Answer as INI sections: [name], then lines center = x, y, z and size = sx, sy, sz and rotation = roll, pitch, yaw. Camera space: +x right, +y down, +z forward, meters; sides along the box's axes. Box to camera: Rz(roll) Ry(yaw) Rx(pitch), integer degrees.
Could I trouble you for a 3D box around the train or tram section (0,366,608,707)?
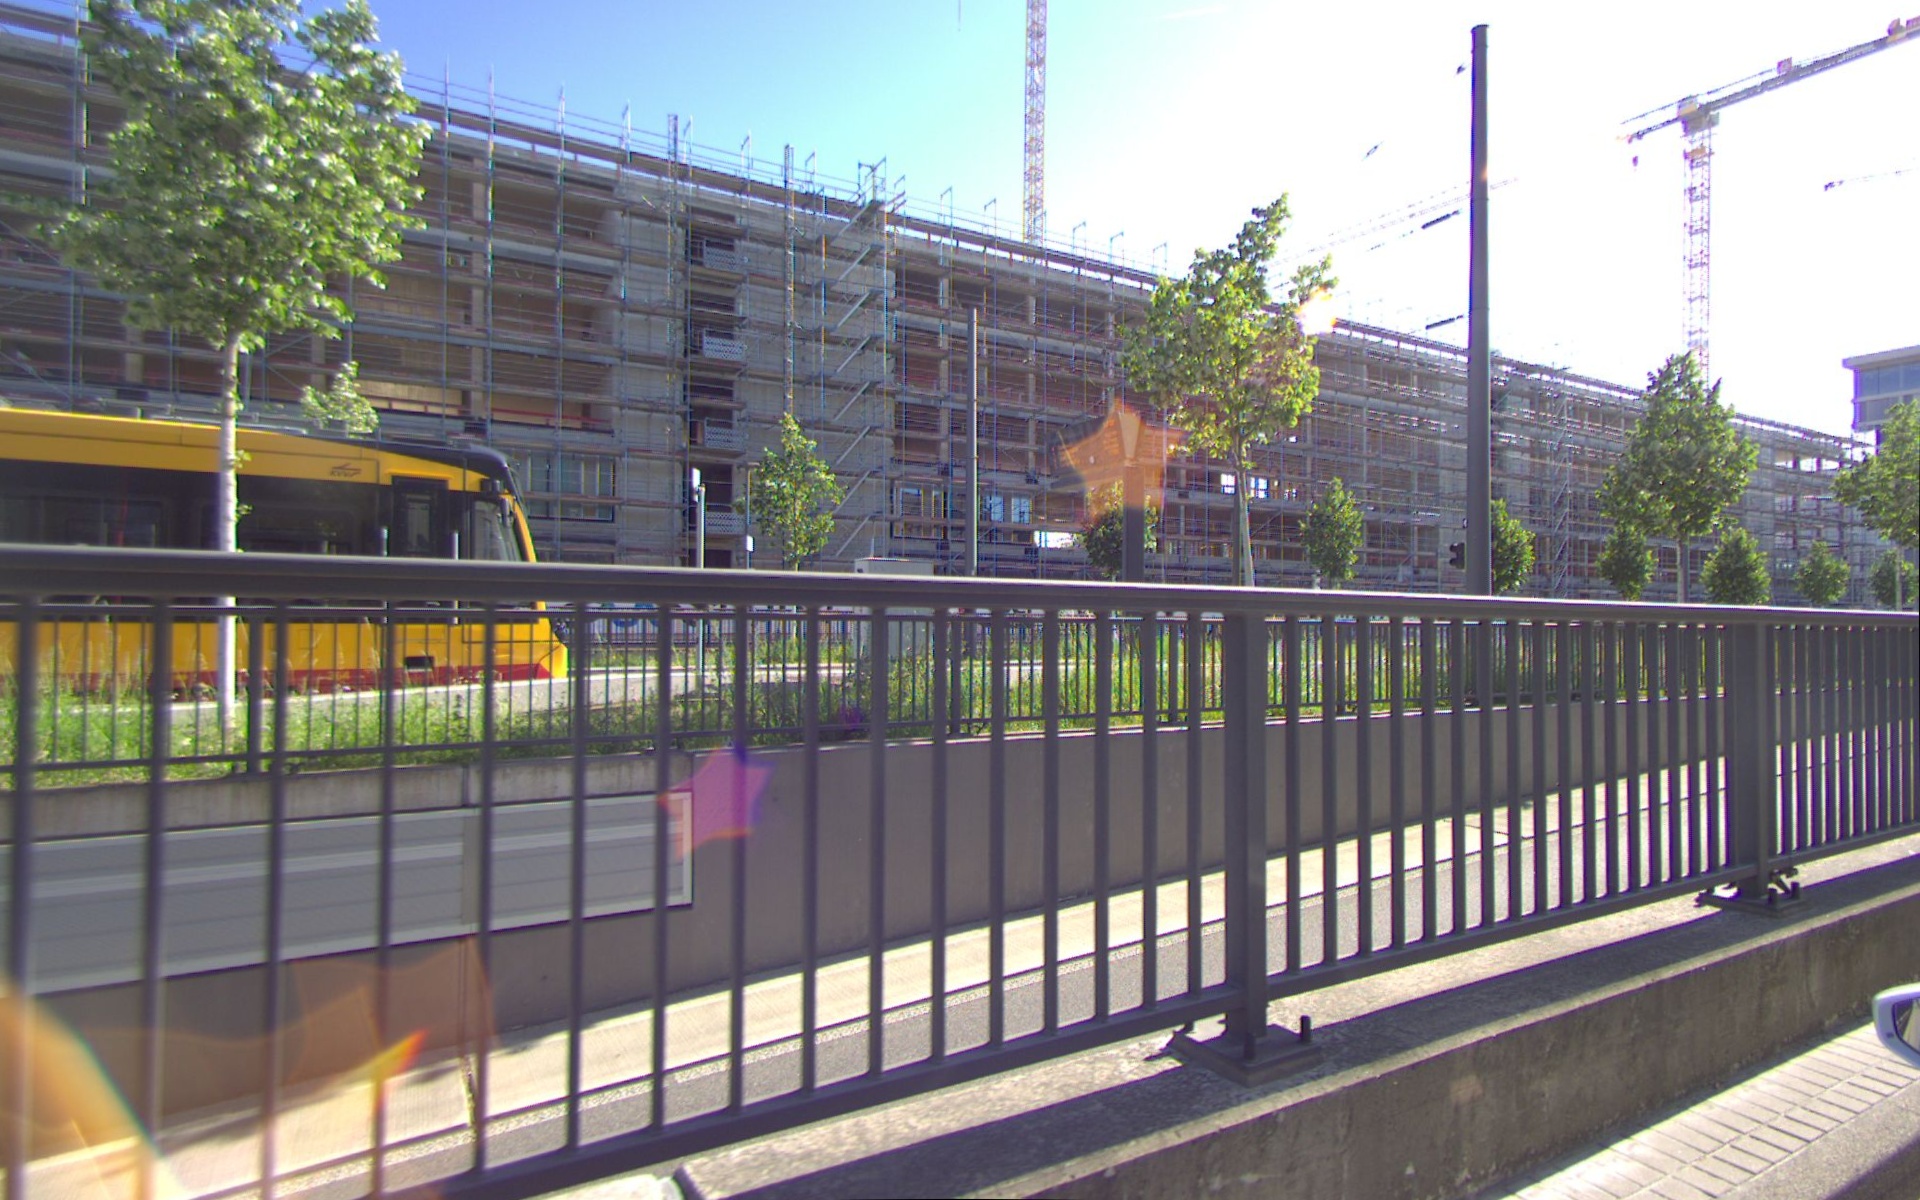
[train or tram section]
center = -14.607, -0.721, 8.403
size = 21.879, 3.323, 2.857
rotation = 1, 1, -30
